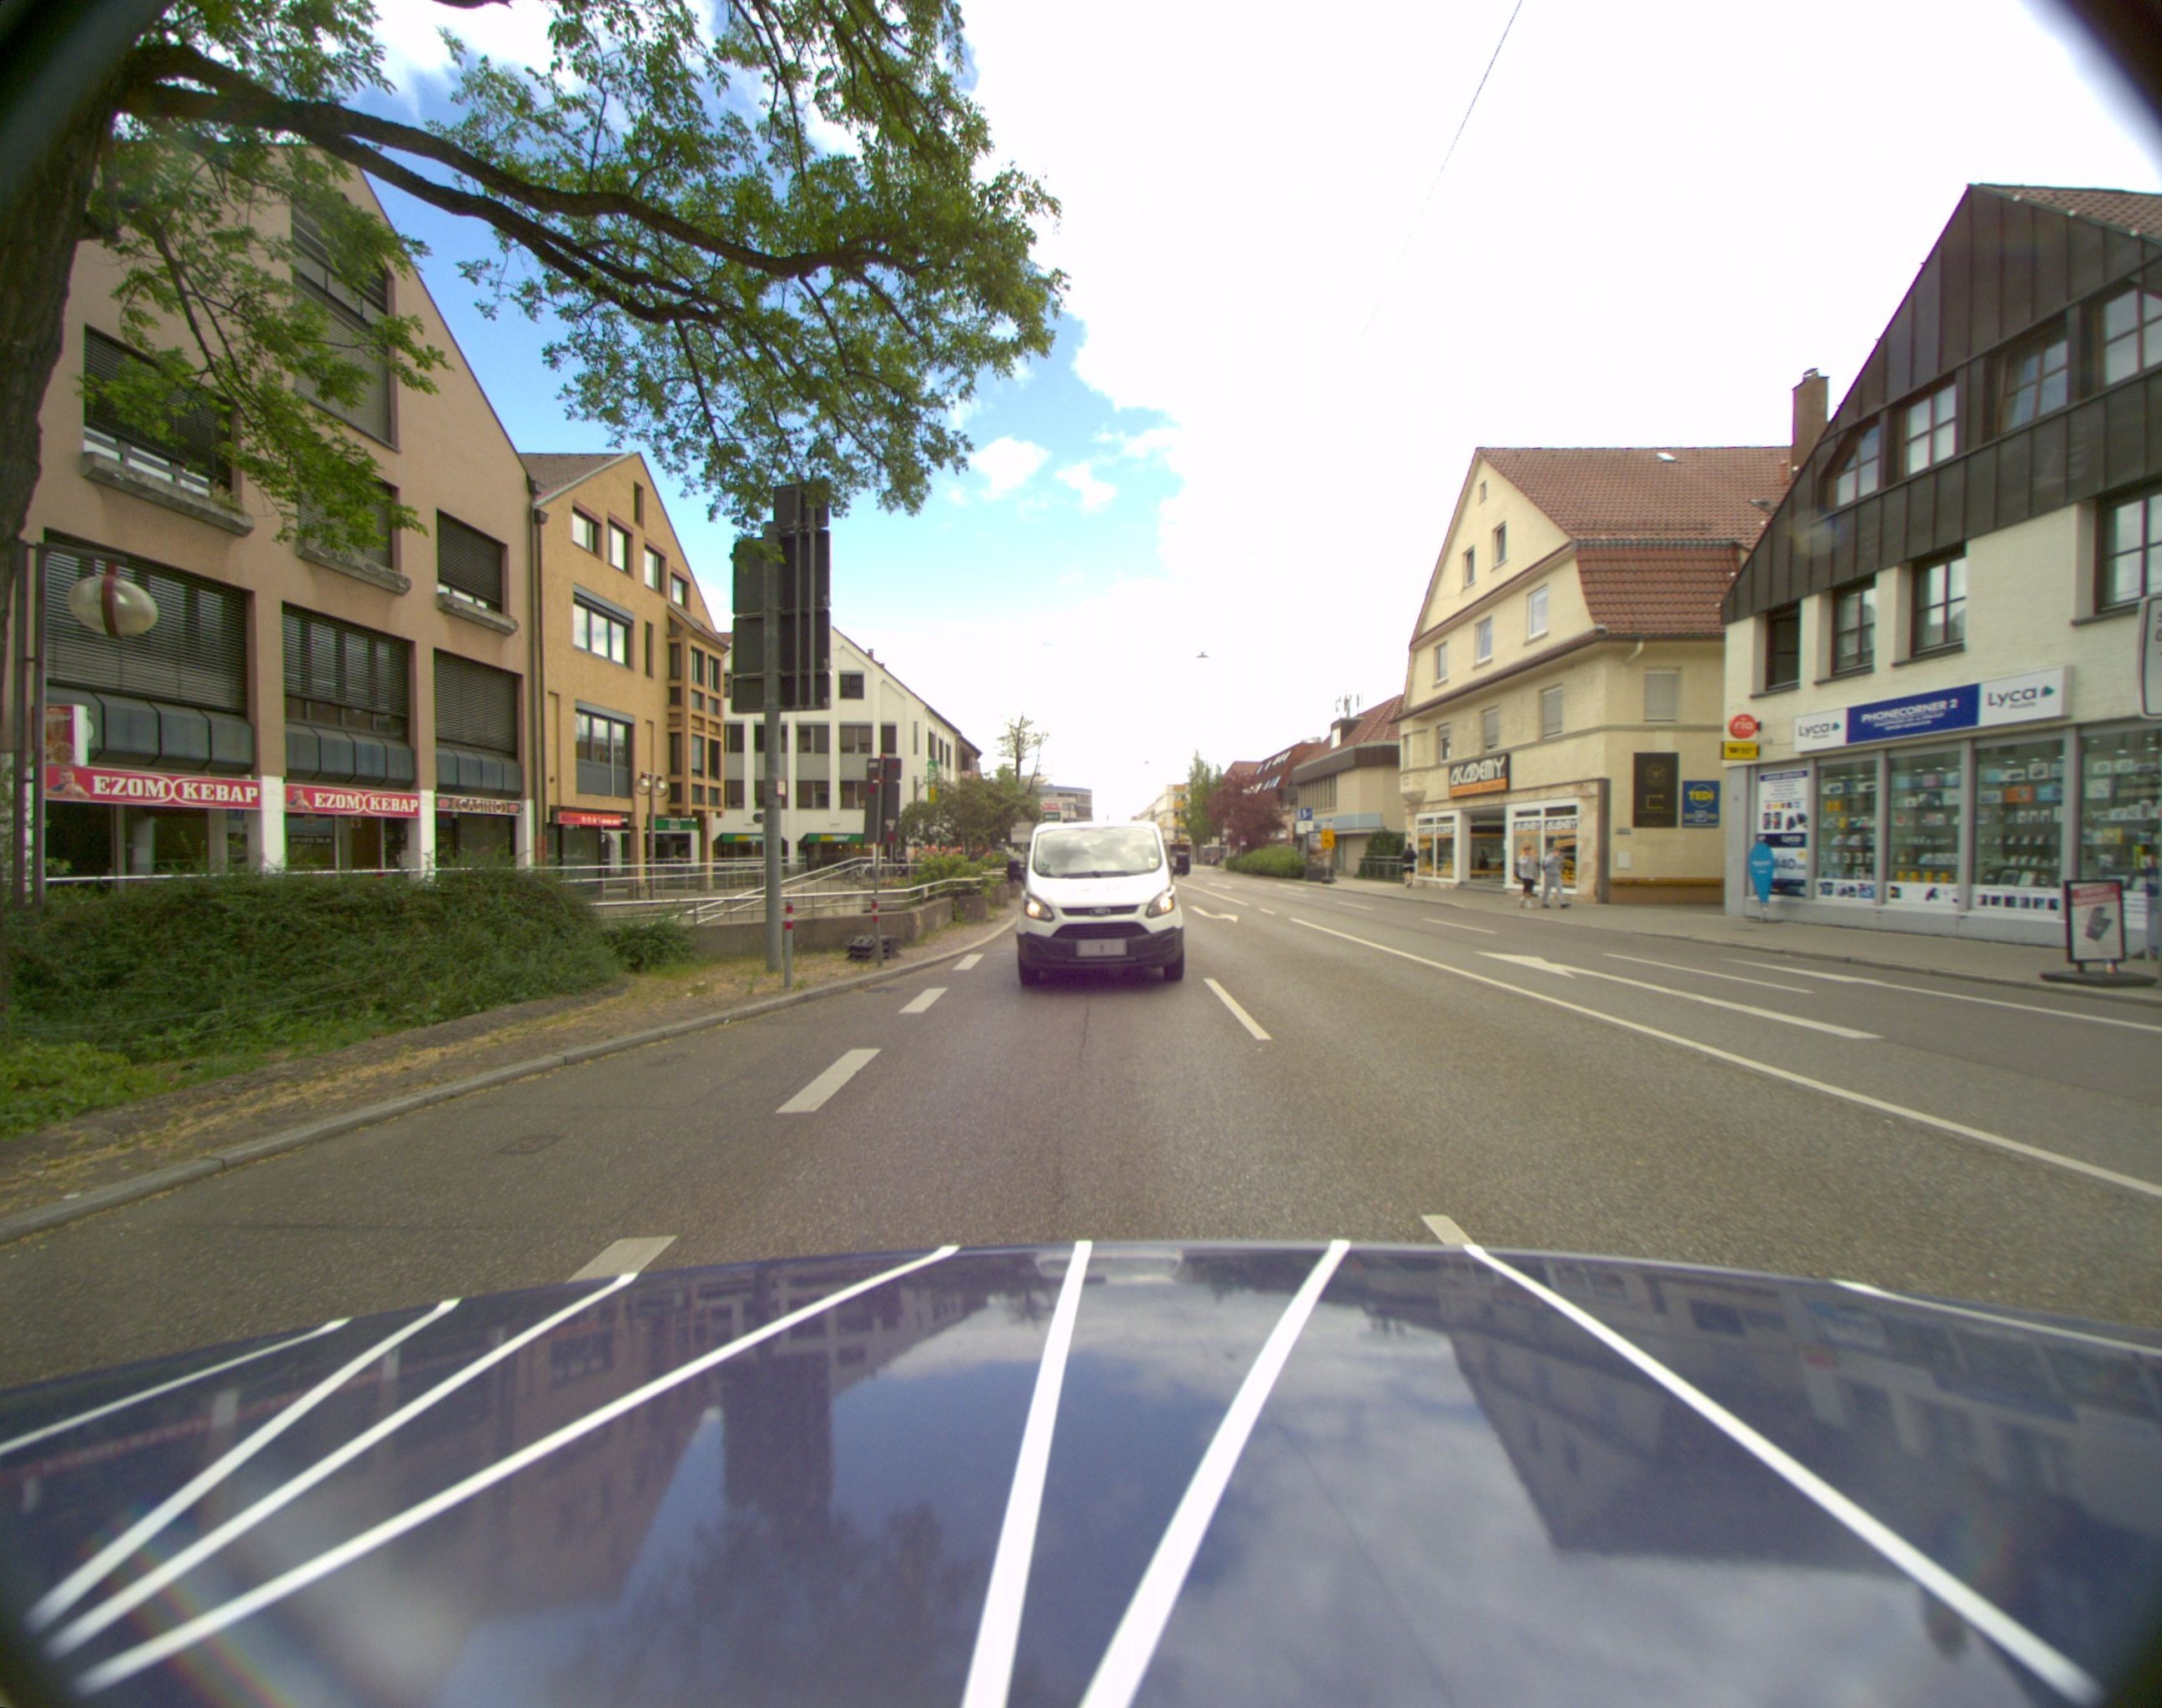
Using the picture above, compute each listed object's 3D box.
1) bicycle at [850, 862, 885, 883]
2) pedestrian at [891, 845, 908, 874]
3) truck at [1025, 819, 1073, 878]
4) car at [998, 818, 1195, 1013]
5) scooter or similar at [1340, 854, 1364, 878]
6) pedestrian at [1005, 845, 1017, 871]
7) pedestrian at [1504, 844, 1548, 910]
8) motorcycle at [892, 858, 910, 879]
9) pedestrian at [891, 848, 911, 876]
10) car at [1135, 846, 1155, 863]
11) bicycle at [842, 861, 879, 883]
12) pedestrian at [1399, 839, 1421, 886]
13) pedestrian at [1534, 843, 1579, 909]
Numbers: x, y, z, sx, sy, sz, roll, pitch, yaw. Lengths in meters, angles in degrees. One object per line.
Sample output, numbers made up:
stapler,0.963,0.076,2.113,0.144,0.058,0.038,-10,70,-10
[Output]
bicycle,-10.137,0.894,36.148,1.594,0.963,0.461,-1,1,-13
pedestrian,-11.784,0.345,49.387,0.871,1.812,0.785,-2,1,-3
truck,-1.969,-0.401,50.136,2.446,3.464,8.347,-2,1,2
car,0.195,0.629,10.561,1.964,1.948,5.164,-3,0,1
scooter or similar,15.992,0.718,44.837,1.193,1.386,0.538,0,1,-14
pedestrian,-4.315,0.263,47.105,0.653,1.568,0.684,-1,1,1
pedestrian,11.751,0.597,20.085,0.689,1.680,0.742,-2,1,1
motorcycle,-9.633,0.763,40.680,0.464,1.062,1.995,0,0,1
pedestrian,-11.159,0.492,47.112,0.888,1.747,0.942,-1,1,-34
car,7.344,0.021,87.459,1.957,1.898,4.321,0,0,0
bicycle,-10.236,0.829,35.311,1.594,0.996,0.414,-1,1,-12
pedestrian,13.416,0.361,30.991,0.551,1.878,0.592,-2,1,-3
pedestrian,12.495,0.563,19.978,0.689,1.660,0.709,-3,1,1
